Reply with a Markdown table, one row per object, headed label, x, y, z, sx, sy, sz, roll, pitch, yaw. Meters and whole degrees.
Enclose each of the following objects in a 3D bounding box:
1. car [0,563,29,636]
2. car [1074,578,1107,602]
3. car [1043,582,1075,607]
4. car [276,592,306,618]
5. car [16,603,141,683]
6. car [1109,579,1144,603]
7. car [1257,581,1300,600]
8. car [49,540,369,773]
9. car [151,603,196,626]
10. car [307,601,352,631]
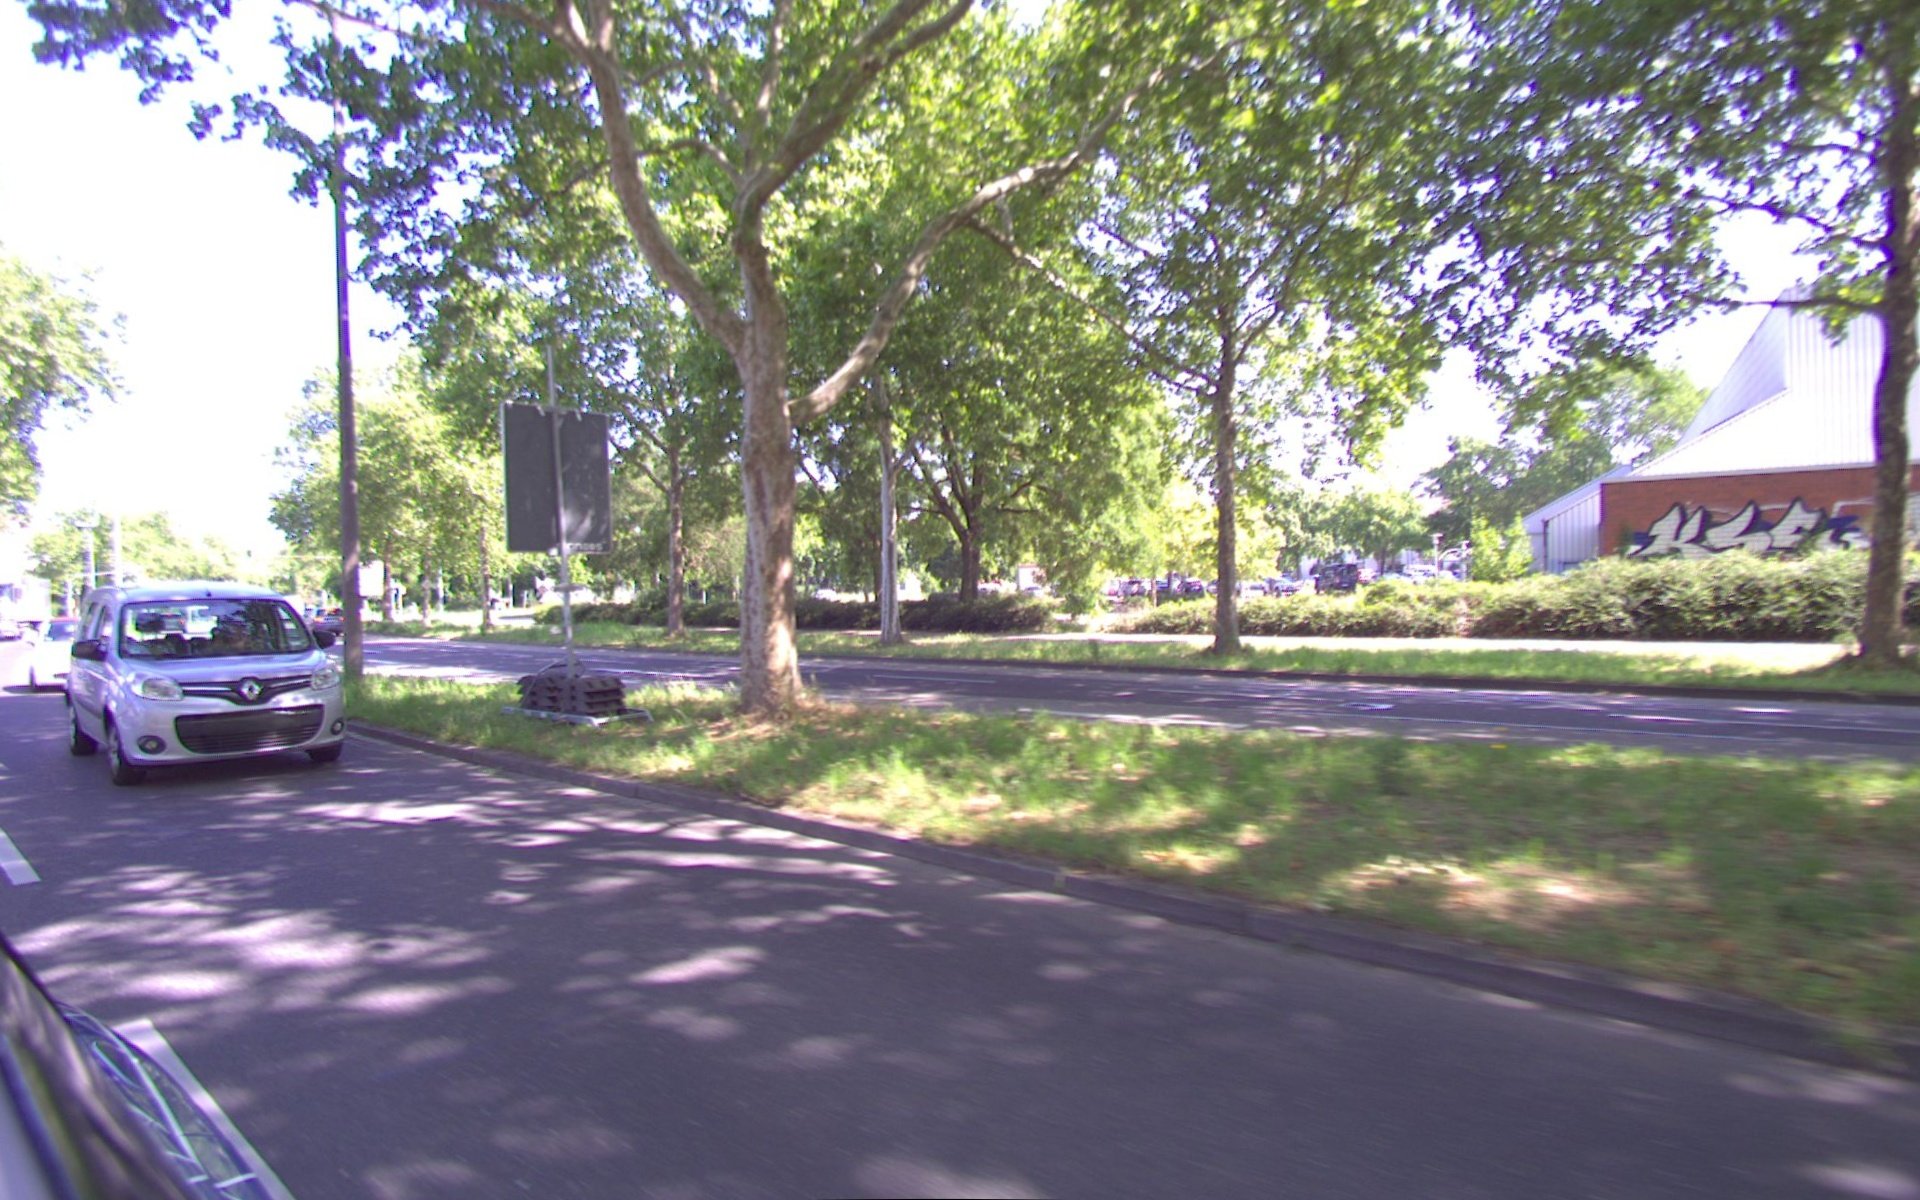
| label | x | y | z | sx | sy | sz | roll | pitch | yaw |
| --- | --- | --- | --- | --- | --- | --- | --- | --- | --- |
| car | -55.068 | 0.034 | 57.500 | 2.860 | 3.950 | 7.152 | -1 | 0 | -41 |
| car | 11.296 | -0.837 | 87.914 | 1.788 | 2.029 | 4.008 | -1 | 0 | -9 |
| car | 8.574 | -0.476 | 87.964 | 1.788 | 2.029 | 4.008 | -1 | 0 | -9 |
| car | -71.951 | 0.534 | 108.979 | 2.031 | 2.633 | 7.240 | -1 | 0 | -28 |
| car | -18.615 | 0.848 | 21.302 | 4.377 | 1.502 | 1.666 | -1 | -1 | 45 |
| car | 14.520 | -0.747 | 88.463 | 1.788 | 2.029 | 4.008 | -1 | 0 | -9 |
| car | 27.863 | -0.819 | 88.706 | 1.788 | 1.502 | 4.010 | -1 | 0 | -12 |
| car | -7.727 | 0.460 | 10.244 | 4.375 | 1.854 | 1.852 | -1 | 0 | 43 |
| car | -54.317 | 0.973 | 69.936 | 1.670 | 1.519 | 4.143 | -2 | 0 | -27 |
| car | -34.554 | 0.879 | 55.421 | 1.771 | 1.568 | 4.406 | -1 | 0 | -36 |
